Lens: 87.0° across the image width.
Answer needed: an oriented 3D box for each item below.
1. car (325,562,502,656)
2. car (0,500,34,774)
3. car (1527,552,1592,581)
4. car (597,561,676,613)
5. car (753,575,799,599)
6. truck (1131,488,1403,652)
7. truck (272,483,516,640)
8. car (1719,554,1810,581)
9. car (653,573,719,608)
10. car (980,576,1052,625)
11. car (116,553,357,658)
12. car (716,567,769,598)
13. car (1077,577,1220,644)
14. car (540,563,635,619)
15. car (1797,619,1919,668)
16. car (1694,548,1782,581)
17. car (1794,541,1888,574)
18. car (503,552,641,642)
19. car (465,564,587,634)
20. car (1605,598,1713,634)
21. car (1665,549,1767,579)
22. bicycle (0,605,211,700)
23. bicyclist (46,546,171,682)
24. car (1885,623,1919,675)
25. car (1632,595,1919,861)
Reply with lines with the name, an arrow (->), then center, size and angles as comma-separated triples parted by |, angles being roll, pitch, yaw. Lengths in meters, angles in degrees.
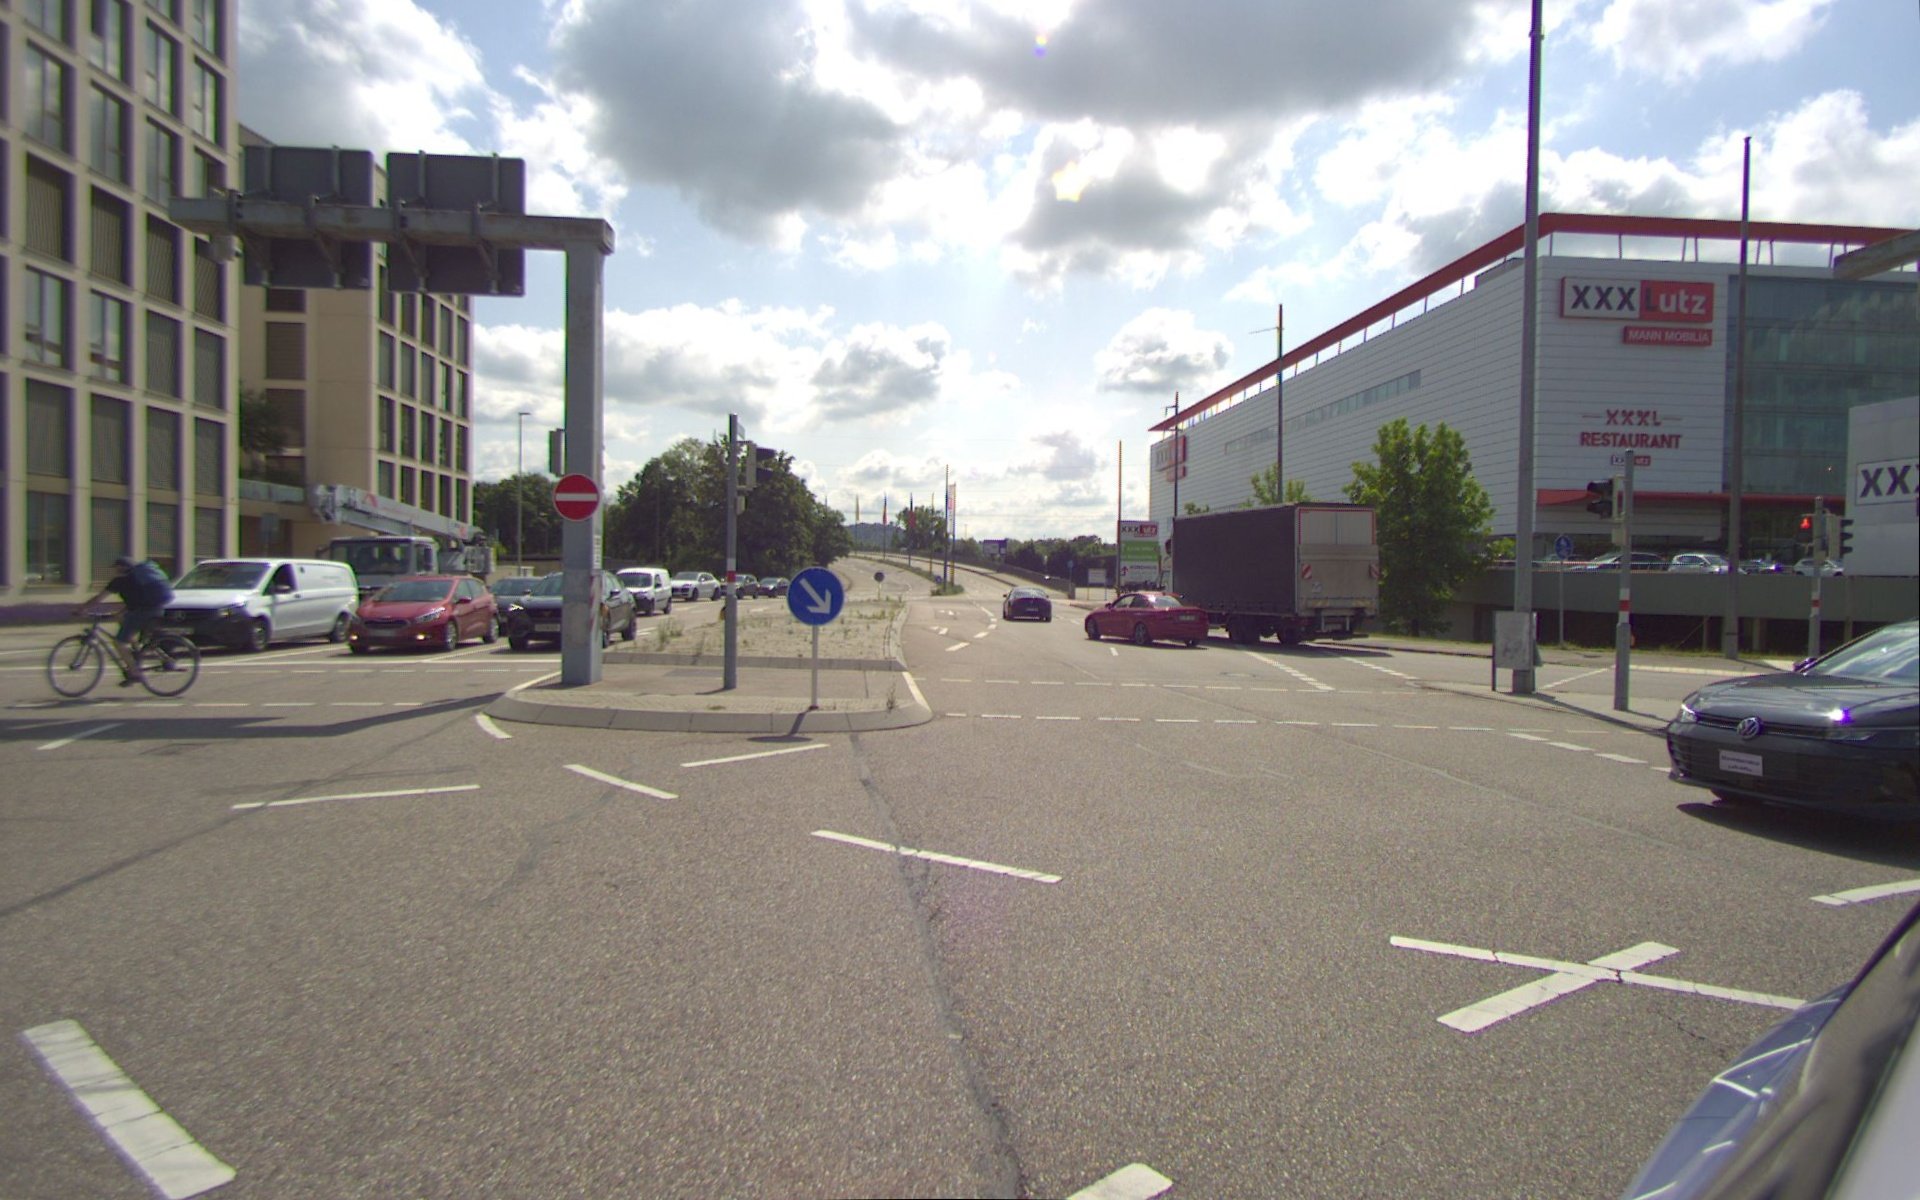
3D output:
car -> -10.677, 0.157, 20.123 | 1.790, 1.647, 4.218 | -1, 0, -9
car -> -8.642, 0.268, 6.338 | 3.920, 1.929, 1.831 | 0, 0, -4
car -> 41.277, -2.279, 69.835 | 1.529, 1.846, 4.428 | 0, 1, -5
car -> -12.268, -0.469, 38.668 | 1.792, 1.861, 4.448 | -1, 0, -3
car -> -12.842, -0.882, 70.910 | 1.798, 1.634, 4.434 | -1, 0, 9
truck -> 8.571, -0.763, 30.002 | 3.155, 4.078, 9.088 | 0, 0, -17
truck -> -15.174, -0.904, 28.193 | 2.620, 3.600, 9.797 | -1, 0, -8
car -> 47.065, -1.854, 59.303 | 1.529, 1.489, 4.428 | 0, 1, -5
car -> -15.323, -0.530, 56.854 | 1.798, 1.861, 4.702 | -1, 0, 9
car -> 2.229, 0.071, 41.636 | 1.826, 1.677, 4.224 | 2, -4, -13
car -> -14.495, 0.089, 20.711 | 1.959, 1.861, 5.000 | -1, 0, -9
car -> -13.851, -1.073, 64.703 | 1.798, 1.861, 4.434 | -1, 0, 9
car -> 5.051, 0.263, 27.673 | 1.826, 1.676, 4.226 | -1, 0, -22
car -> -11.784, -0.275, 32.288 | 1.792, 1.647, 4.215 | -1, 0, -5
car -> 35.156, 1.663, 39.016 | 4.276, 1.772, 2.002 | 0, 0, -5
car -> 45.135, -2.028, 58.803 | 1.879, 1.772, 4.002 | -1, 0, -3
car -> 52.127, -2.484, 59.979 | 1.879, 1.772, 4.002 | -1, 0, -3
car -> -7.837, -0.065, 20.849 | 1.790, 1.647, 4.218 | -1, 0, -9
car -> -11.069, -0.034, 26.113 | 1.791, 1.647, 4.217 | -1, 0, -7
car -> 35.747, 0.815, 51.812 | 4.276, 1.772, 2.002 | 0, 0, -5
car -> 40.579, -1.892, 54.449 | 1.916, 1.489, 4.428 | 0, 1, -5
bicycle -> -9.727, 0.586, 11.541 | 1.941, 1.024, 0.649 | -1, 0, 3
bicyclist -> -9.694, 0.157, 11.538 | 0.898, 1.496, 0.638 | -1, 0, 2
car -> 35.283, 1.717, 35.552 | 3.920, 1.772, 2.002 | 0, 0, -5
car -> 7.657, 0.717, 6.967 | 5.098, 1.496, 1.817 | 0, 0, -8
